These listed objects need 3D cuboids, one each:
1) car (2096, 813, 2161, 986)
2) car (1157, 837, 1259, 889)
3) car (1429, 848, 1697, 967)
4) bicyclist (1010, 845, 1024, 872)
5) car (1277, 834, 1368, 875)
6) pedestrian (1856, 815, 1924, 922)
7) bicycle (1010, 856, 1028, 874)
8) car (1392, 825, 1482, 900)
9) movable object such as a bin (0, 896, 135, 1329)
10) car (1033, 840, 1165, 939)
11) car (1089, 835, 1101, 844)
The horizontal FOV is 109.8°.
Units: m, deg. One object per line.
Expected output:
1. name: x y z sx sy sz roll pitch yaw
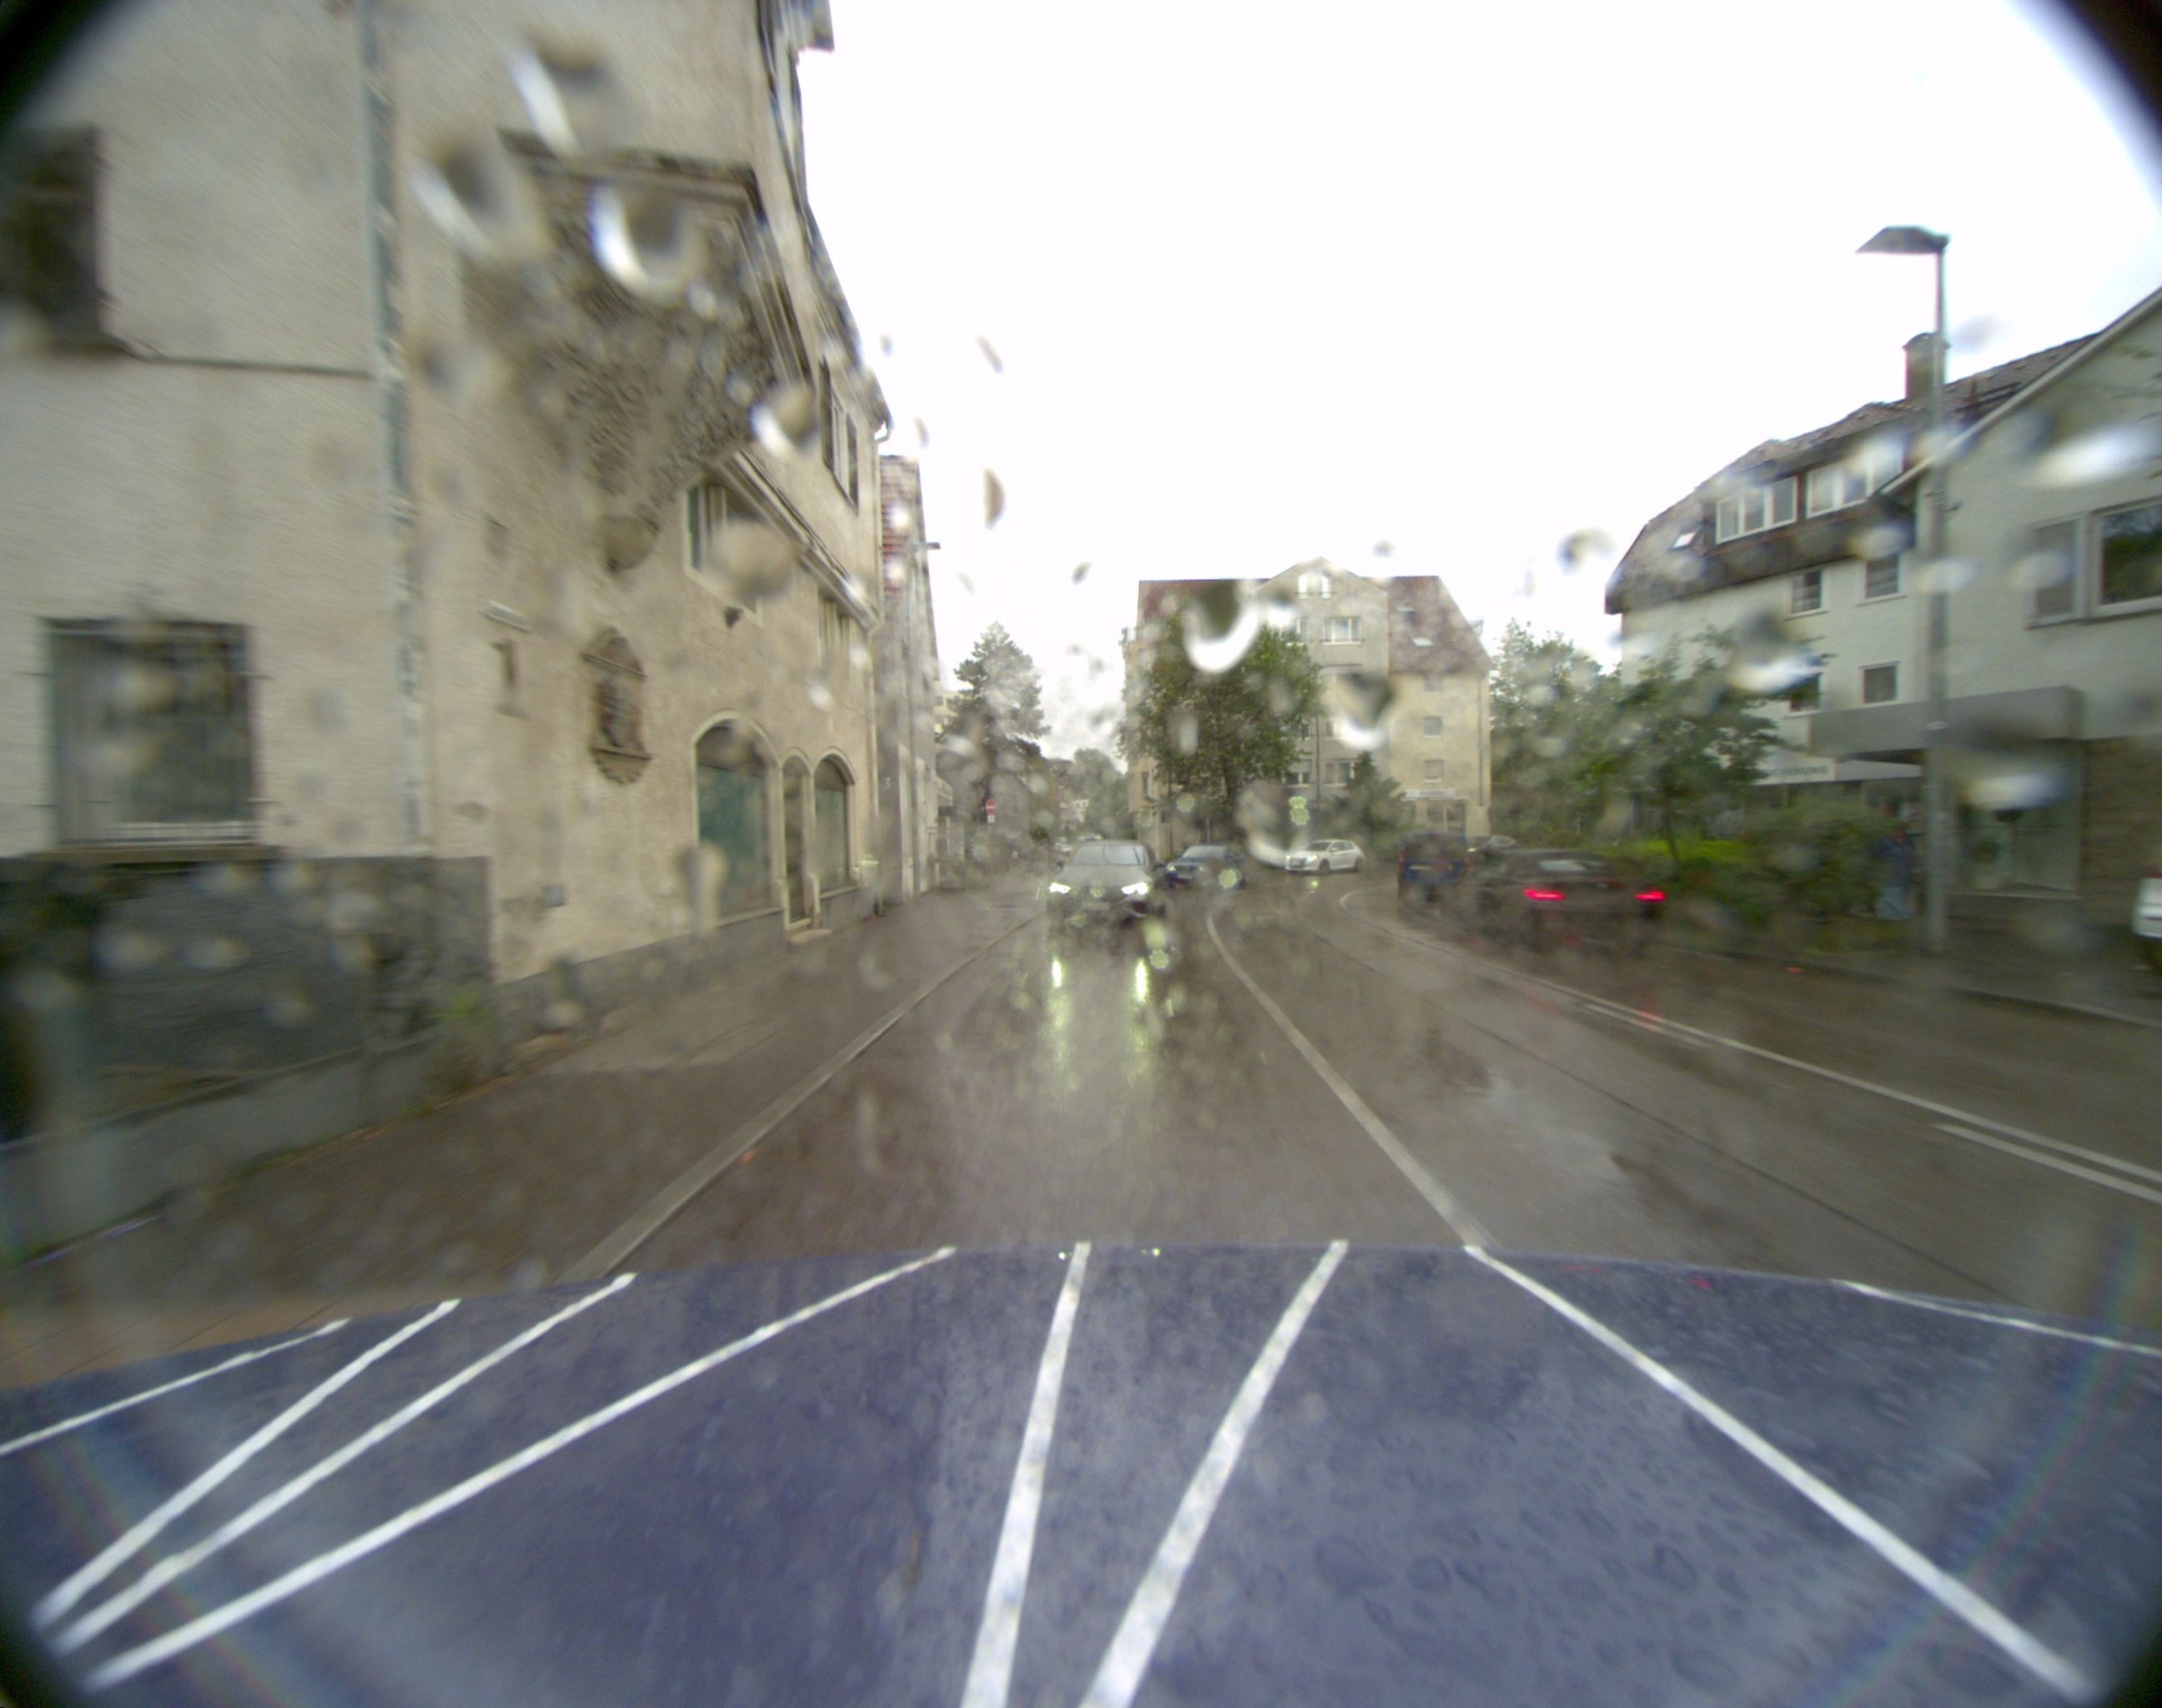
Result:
1. car: 12.026 0.394 7.218 3.649 1.620 1.996 -2 2 -23
2. car: 4.242 0.327 24.750 1.770 1.523 4.387 -2 -2 31
3. car: 6.888 0.636 11.495 1.864 1.379 4.265 1 1 9
4. bicyclist: -3.712 0.246 44.260 0.685 1.509 1.029 -1 1 -11
5. car: 10.689 -0.044 33.518 4.007 1.557 1.809 -3 5 -37
6. pedestrian: 12.322 0.209 11.571 0.657 1.567 0.544 -3 3 -29
7. bicycle: -3.622 0.635 44.259 0.764 1.028 2.079 1 0 -11
8. car: 9.958 0.144 21.553 1.995 1.871 4.383 1 2 21
9. movable object such as a bin: -4.008 0.907 2.730 0.413 1.434 0.642 -2 4 -22
10. car: 0.514 0.527 14.087 1.997 1.485 4.315 -1 2 7
11. car: 2.584 -2.735 143.786 1.998 1.564 4.002 0 0 4
